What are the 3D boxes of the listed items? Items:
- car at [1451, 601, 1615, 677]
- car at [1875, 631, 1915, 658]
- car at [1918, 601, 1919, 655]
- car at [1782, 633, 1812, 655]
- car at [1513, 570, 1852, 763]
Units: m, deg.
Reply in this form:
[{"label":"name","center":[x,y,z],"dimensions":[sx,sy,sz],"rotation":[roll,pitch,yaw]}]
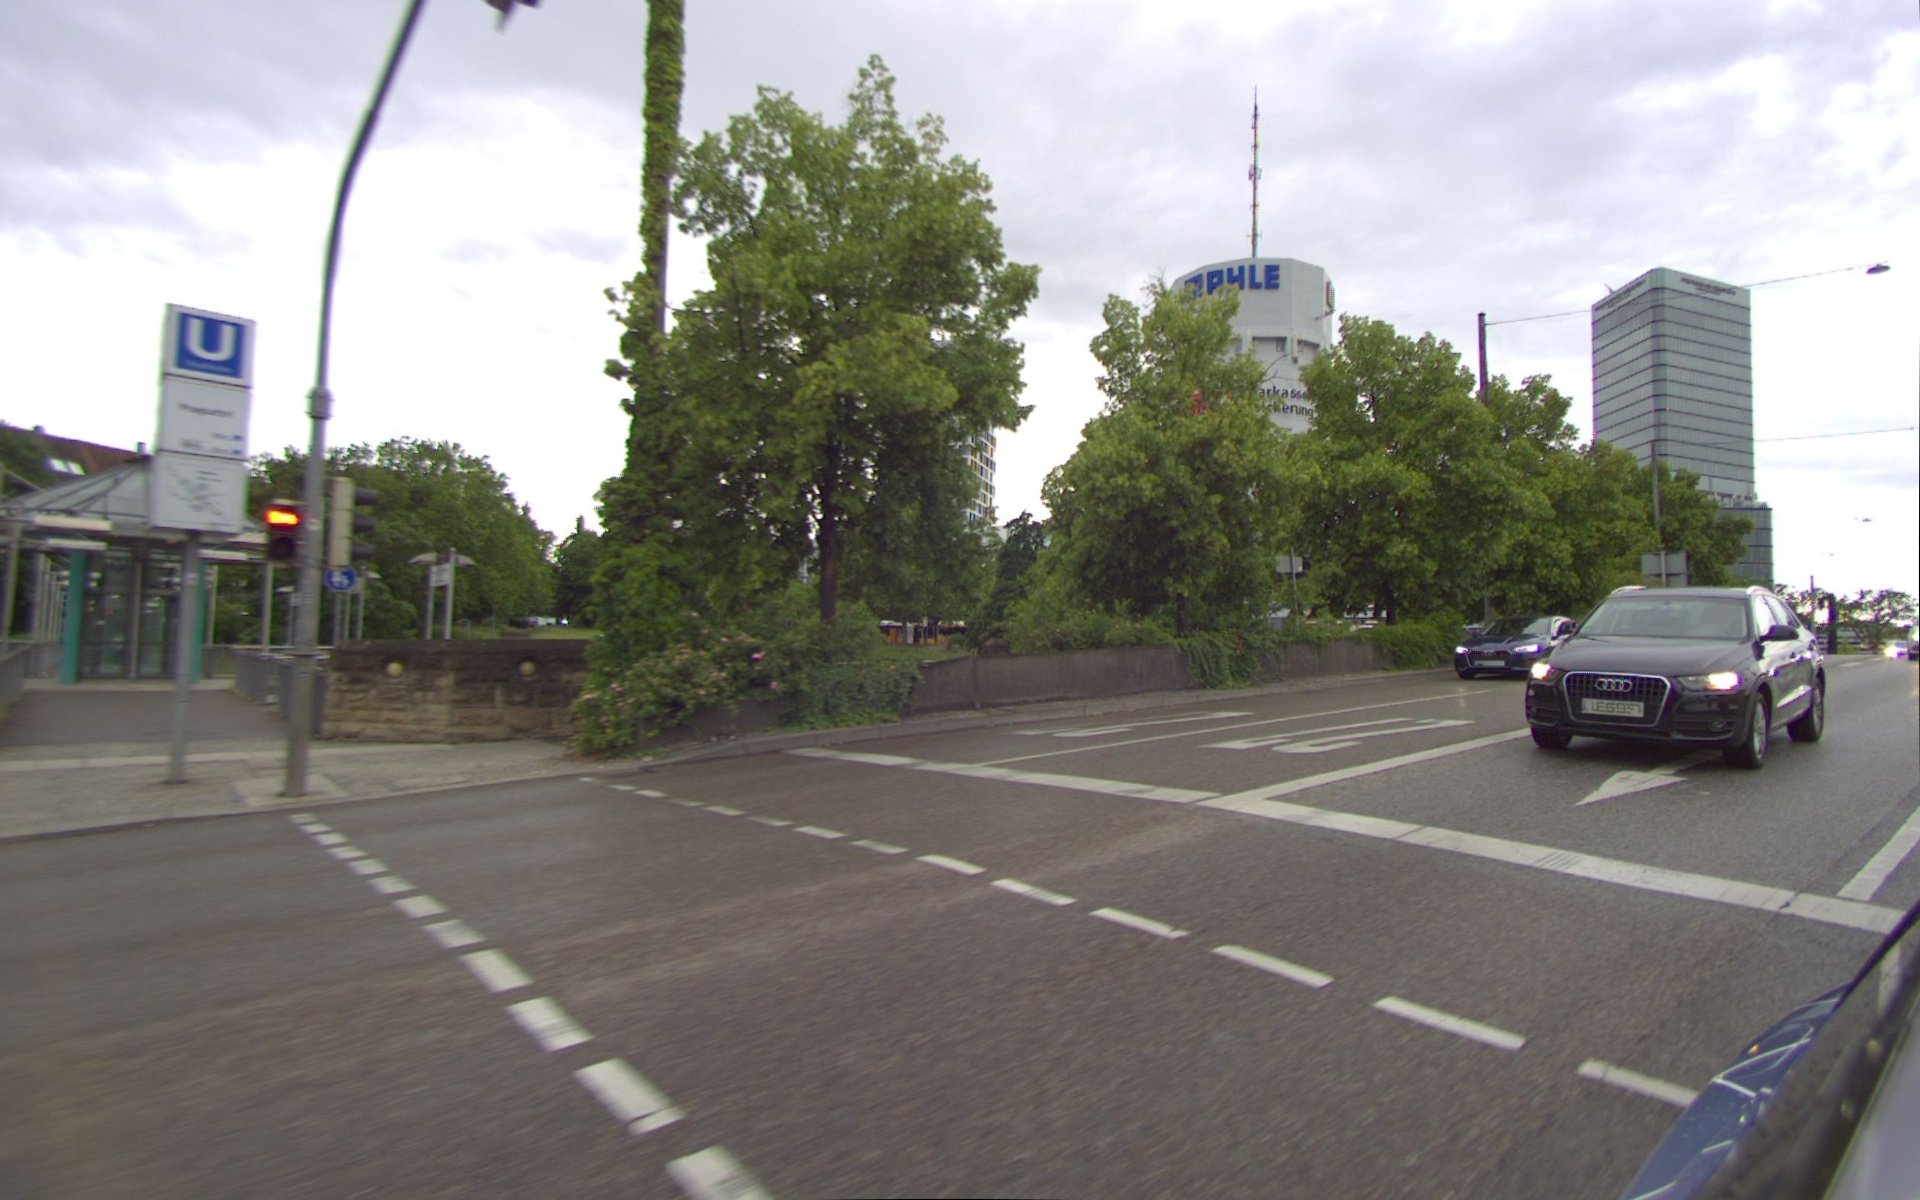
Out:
[{"label":"car","center":[12.873,0.809,22.632],"dimensions":[4.273,1.443,1.874],"rotation":[-1,-1,-41]},{"label":"car","center":[64.088,3.084,69.426],"dimensions":[1.795,1.797,3.941],"rotation":[-2,-4,40]},{"label":"car","center":[28.492,0.794,28.767],"dimensions":[1.726,1.491,4.194],"rotation":[-1,-2,45]},{"label":"car","center":[61.674,3.255,74.585],"dimensions":[1.628,1.495,3.623],"rotation":[-2,-4,39]},{"label":"car","center":[7.322,0.569,10.120],"dimensions":[4.052,1.554,1.728],"rotation":[0,-2,-39]}]
